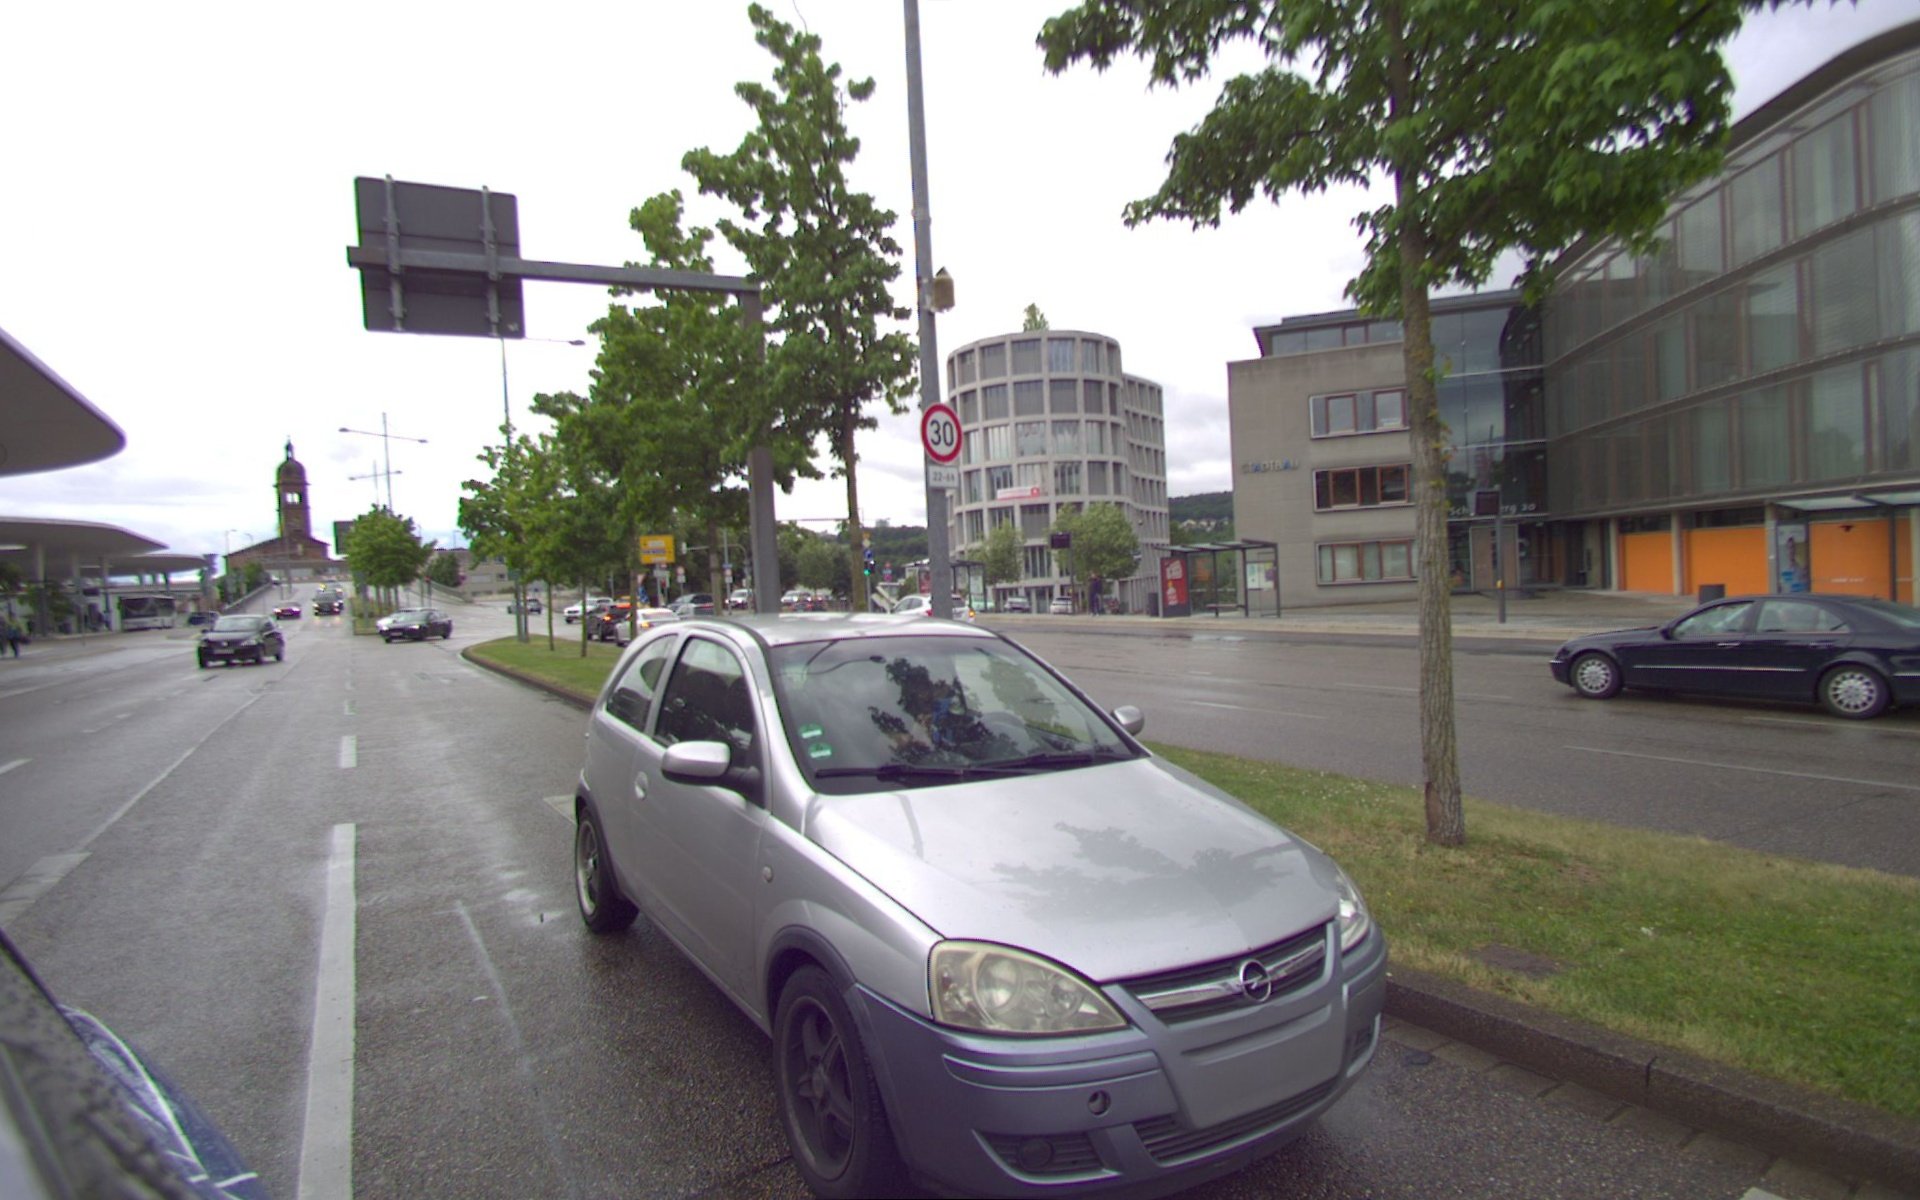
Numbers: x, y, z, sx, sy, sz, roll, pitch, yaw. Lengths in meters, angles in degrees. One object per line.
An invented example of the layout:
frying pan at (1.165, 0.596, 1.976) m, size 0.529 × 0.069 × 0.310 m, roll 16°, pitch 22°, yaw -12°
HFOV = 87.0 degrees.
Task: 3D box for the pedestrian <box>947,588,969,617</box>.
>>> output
pedestrian at (-0.115, 0.133, 53.138) m, size 0.967 × 1.501 × 0.736 m, roll -1°, pitch 0°, yaw -21°

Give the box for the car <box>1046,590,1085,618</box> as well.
car at (6.776, 0.247, 64.759) m, size 1.859 × 1.714 × 4.139 m, roll -2°, pitch 0°, yaw 14°

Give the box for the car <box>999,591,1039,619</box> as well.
car at (3.839, 0.306, 65.509) m, size 1.859 × 1.714 × 4.138 m, roll -1°, pitch 0°, yaw 14°

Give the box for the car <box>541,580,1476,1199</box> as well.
car at (-0.344, 0.710, 3.808) m, size 1.671 × 1.477 × 3.731 m, roll -1°, pitch 0°, yaw -32°

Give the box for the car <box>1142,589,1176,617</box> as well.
car at (12.441, 0.175, 63.252) m, size 1.859 × 1.714 × 4.138 m, roll -1°, pitch 0°, yaw 14°

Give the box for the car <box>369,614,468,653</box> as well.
car at (-25.909, 1.554, 48.547) m, size 1.860 × 1.714 × 4.137 m, roll -1°, pitch 0°, yaw 15°

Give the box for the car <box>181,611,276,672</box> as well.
car at (-22.659, 1.221, 31.487) m, size 1.845 × 1.715 × 4.170 m, roll -1°, pitch 0°, yaw -29°

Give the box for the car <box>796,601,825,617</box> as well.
car at (-16.176, 0.925, 109.642) m, size 1.856 × 1.646 × 4.146 m, roll -1°, pitch 0°, yaw 9°

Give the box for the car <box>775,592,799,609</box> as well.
car at (-17.552, 0.012, 102.840) m, size 1.849 × 1.646 × 4.288 m, roll -2°, pitch 0°, yaw -3°

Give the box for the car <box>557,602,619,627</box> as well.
car at (-25.387, 0.966, 69.232) m, size 1.860 × 1.646 × 4.279 m, roll -1°, pitch 0°, yaw 16°

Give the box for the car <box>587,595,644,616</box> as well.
car at (-28.481, 0.458, 83.609) m, size 4.119 × 1.646 × 1.868 m, roll -2°, pitch 0°, yaw 15°

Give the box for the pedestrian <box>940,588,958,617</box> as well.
pedestrian at (-0.572, 0.139, 54.090) m, size 0.721 × 1.501 × 0.737 m, roll -1°, pitch 0°, yaw -23°

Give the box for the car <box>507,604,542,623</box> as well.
car at (-39.162, 1.216, 90.961) m, size 1.846 × 1.646 × 4.166 m, roll -2°, pitch 0°, yaw -37°

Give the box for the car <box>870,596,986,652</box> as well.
car at (-1.100, 0.717, 32.356) m, size 1.928 × 1.630 × 4.221 m, roll -1°, pitch 0°, yaw -30°

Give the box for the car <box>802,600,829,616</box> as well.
car at (-16.157, 0.877, 113.197) m, size 1.856 × 1.646 × 4.146 m, roll -1°, pitch 0°, yaw 9°

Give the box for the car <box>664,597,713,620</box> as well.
car at (-20.725, 0.641, 77.399) m, size 1.860 × 1.646 × 4.137 m, roll -1°, pitch 0°, yaw 15°

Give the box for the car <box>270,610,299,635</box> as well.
car at (-57.154, 1.915, 85.696) m, size 1.966 × 2.029 × 4.011 m, roll -1°, pitch 0°, yaw -32°

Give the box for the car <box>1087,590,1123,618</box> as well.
car at (9.280, 0.222, 64.418) m, size 1.859 × 1.714 × 4.138 m, roll -1°, pitch 0°, yaw 14°

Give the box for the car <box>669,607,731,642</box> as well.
car at (-11.649, 1.051, 45.140) m, size 1.671 × 1.476 × 4.466 m, roll -1°, pitch 0°, yaw -28°

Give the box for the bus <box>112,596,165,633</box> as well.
bus at (-75.306, 1.336, 92.811) m, size 3.528 × 3.121 × 10.773 m, roll -2°, pitch 0°, yaw -39°

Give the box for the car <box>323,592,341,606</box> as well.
car at (-74.736, -0.091, 120.455) m, size 1.525 × 1.572 × 3.659 m, roll -1°, pitch 0°, yaw -36°

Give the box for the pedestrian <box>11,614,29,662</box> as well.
pedestrian at (-35.488, 1.413, 38.200) m, size 0.439 × 1.777 × 0.538 m, roll -2°, pitch 0°, yaw -40°

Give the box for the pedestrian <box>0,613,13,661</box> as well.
pedestrian at (-35.857, 1.391, 37.911) m, size 0.438 × 1.777 × 0.538 m, roll -2°, pitch 0°, yaw -37°

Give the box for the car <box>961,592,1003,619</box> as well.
car at (1.454, 0.342, 66.232) m, size 1.859 × 1.714 × 4.138 m, roll -1°, pitch 0°, yaw 14°

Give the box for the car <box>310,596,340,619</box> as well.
car at (-56.235, 0.666, 89.544) m, size 1.967 × 2.029 × 4.009 m, roll -1°, pitch 0°, yaw -36°

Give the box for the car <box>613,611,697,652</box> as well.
car at (-11.193, 1.105, 37.000) m, size 1.977 × 1.363 × 4.177 m, roll -1°, pitch 0°, yaw -31°

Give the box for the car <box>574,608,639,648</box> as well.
car at (-15.156, 1.138, 43.210) m, size 1.977 × 1.566 × 4.178 m, roll -1°, pitch 0°, yaw -28°

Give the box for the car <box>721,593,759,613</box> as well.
car at (-19.296, 0.252, 88.968) m, size 1.856 × 1.646 × 4.144 m, roll -1°, pitch 0°, yaw 10°

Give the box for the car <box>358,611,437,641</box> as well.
car at (-31.854, 1.428, 57.447) m, size 1.792 × 1.571 × 4.037 m, roll -1°, pitch 0°, yaw 10°

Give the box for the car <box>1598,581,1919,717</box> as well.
car at (10.395, 0.515, 12.303) m, size 1.928 × 1.433 × 4.013 m, roll -1°, pitch 0°, yaw -29°
